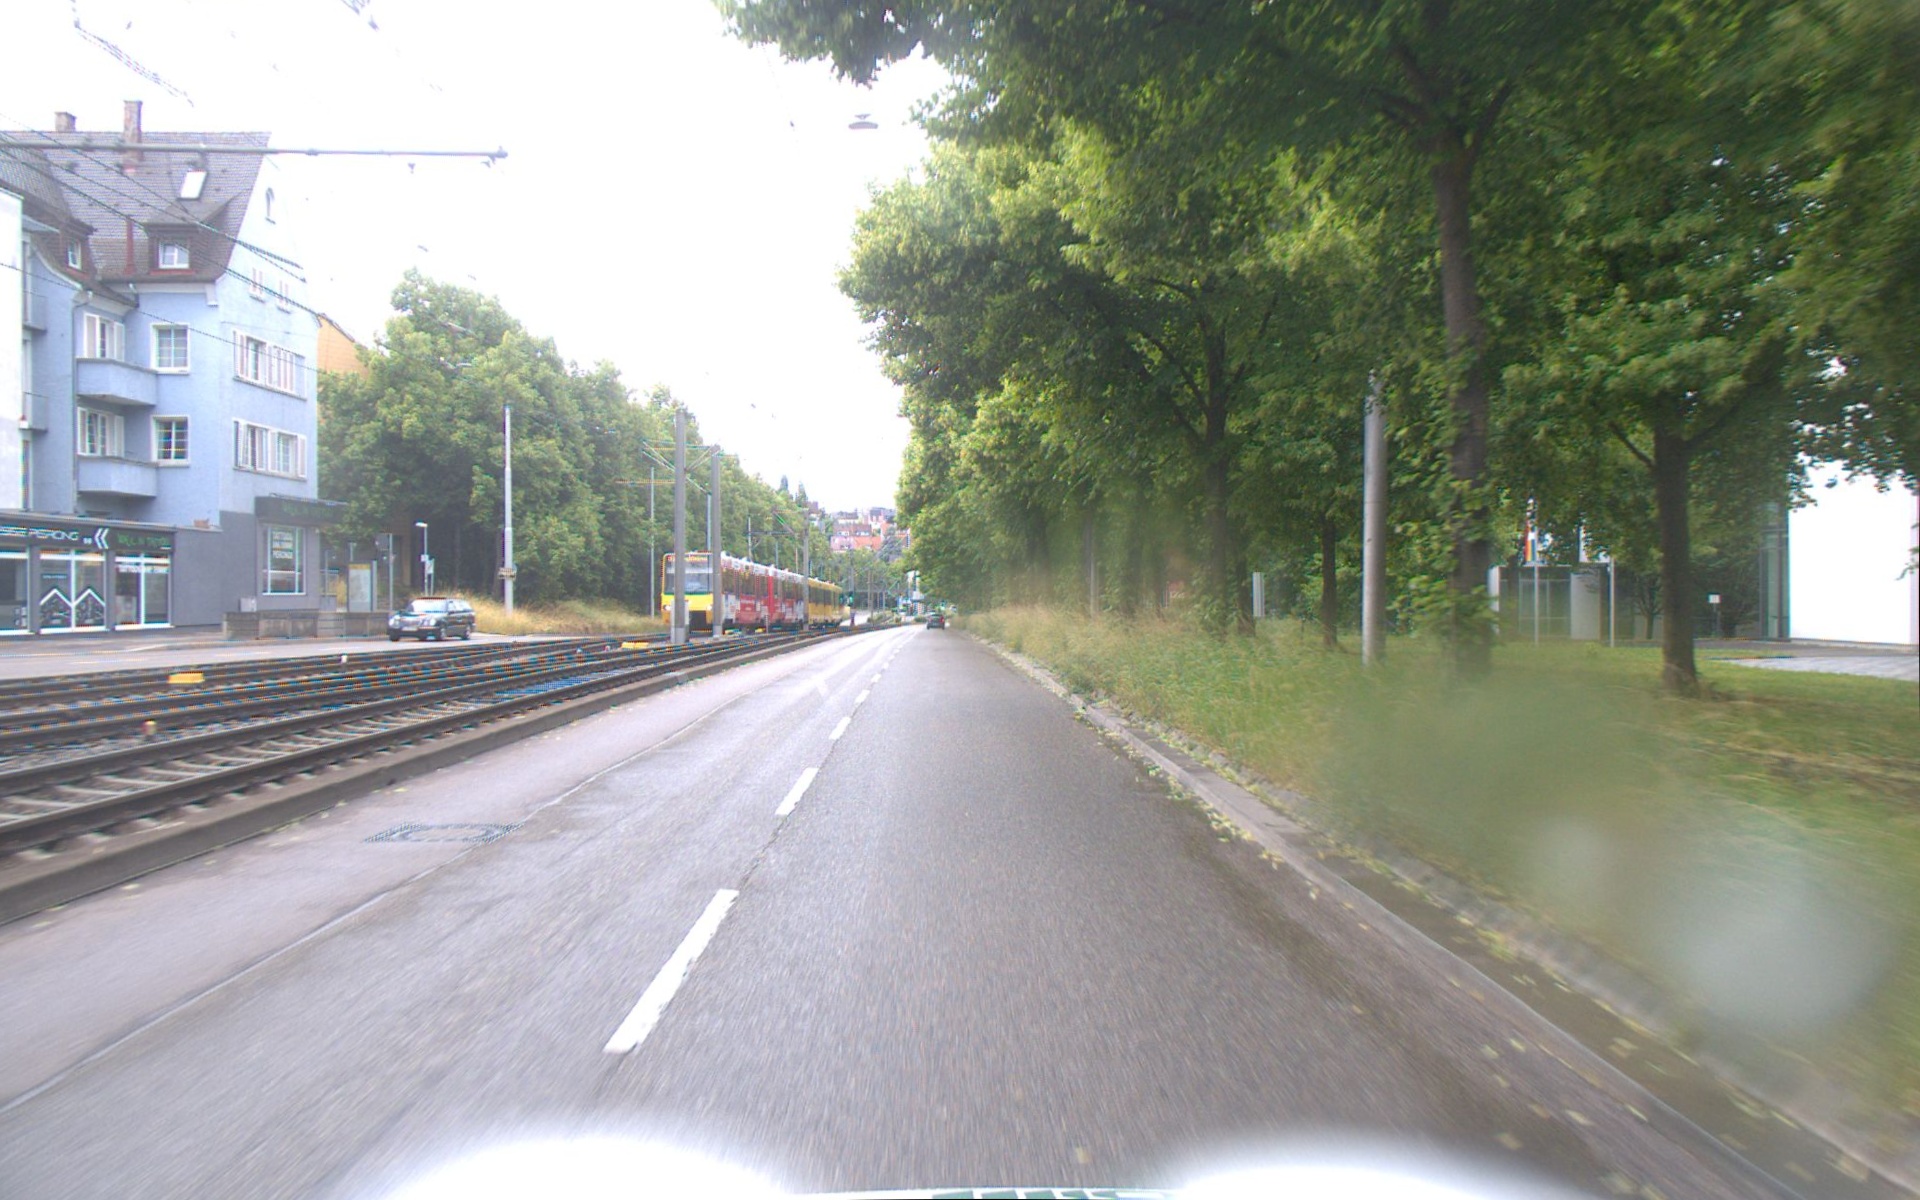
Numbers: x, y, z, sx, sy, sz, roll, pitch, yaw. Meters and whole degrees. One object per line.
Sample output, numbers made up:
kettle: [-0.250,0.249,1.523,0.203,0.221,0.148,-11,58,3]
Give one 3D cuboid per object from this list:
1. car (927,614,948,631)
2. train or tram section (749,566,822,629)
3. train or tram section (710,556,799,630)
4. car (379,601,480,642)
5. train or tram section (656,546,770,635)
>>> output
car: [-2.123,2.109,154.929,1.942,1.466,4.473,0,0,-1]
train or tram section: [-11.357,-0.049,108.964,3.148,3.863,14.788,0,-1,0]
train or tram section: [-11.489,-0.261,94.071,3.148,3.863,14.788,0,-1,0]
car: [-18.135,0.721,56.778,1.863,1.348,4.826,0,-1,0]
train or tram section: [-11.560,-0.331,79.238,3.148,3.863,14.788,0,-1,0]
